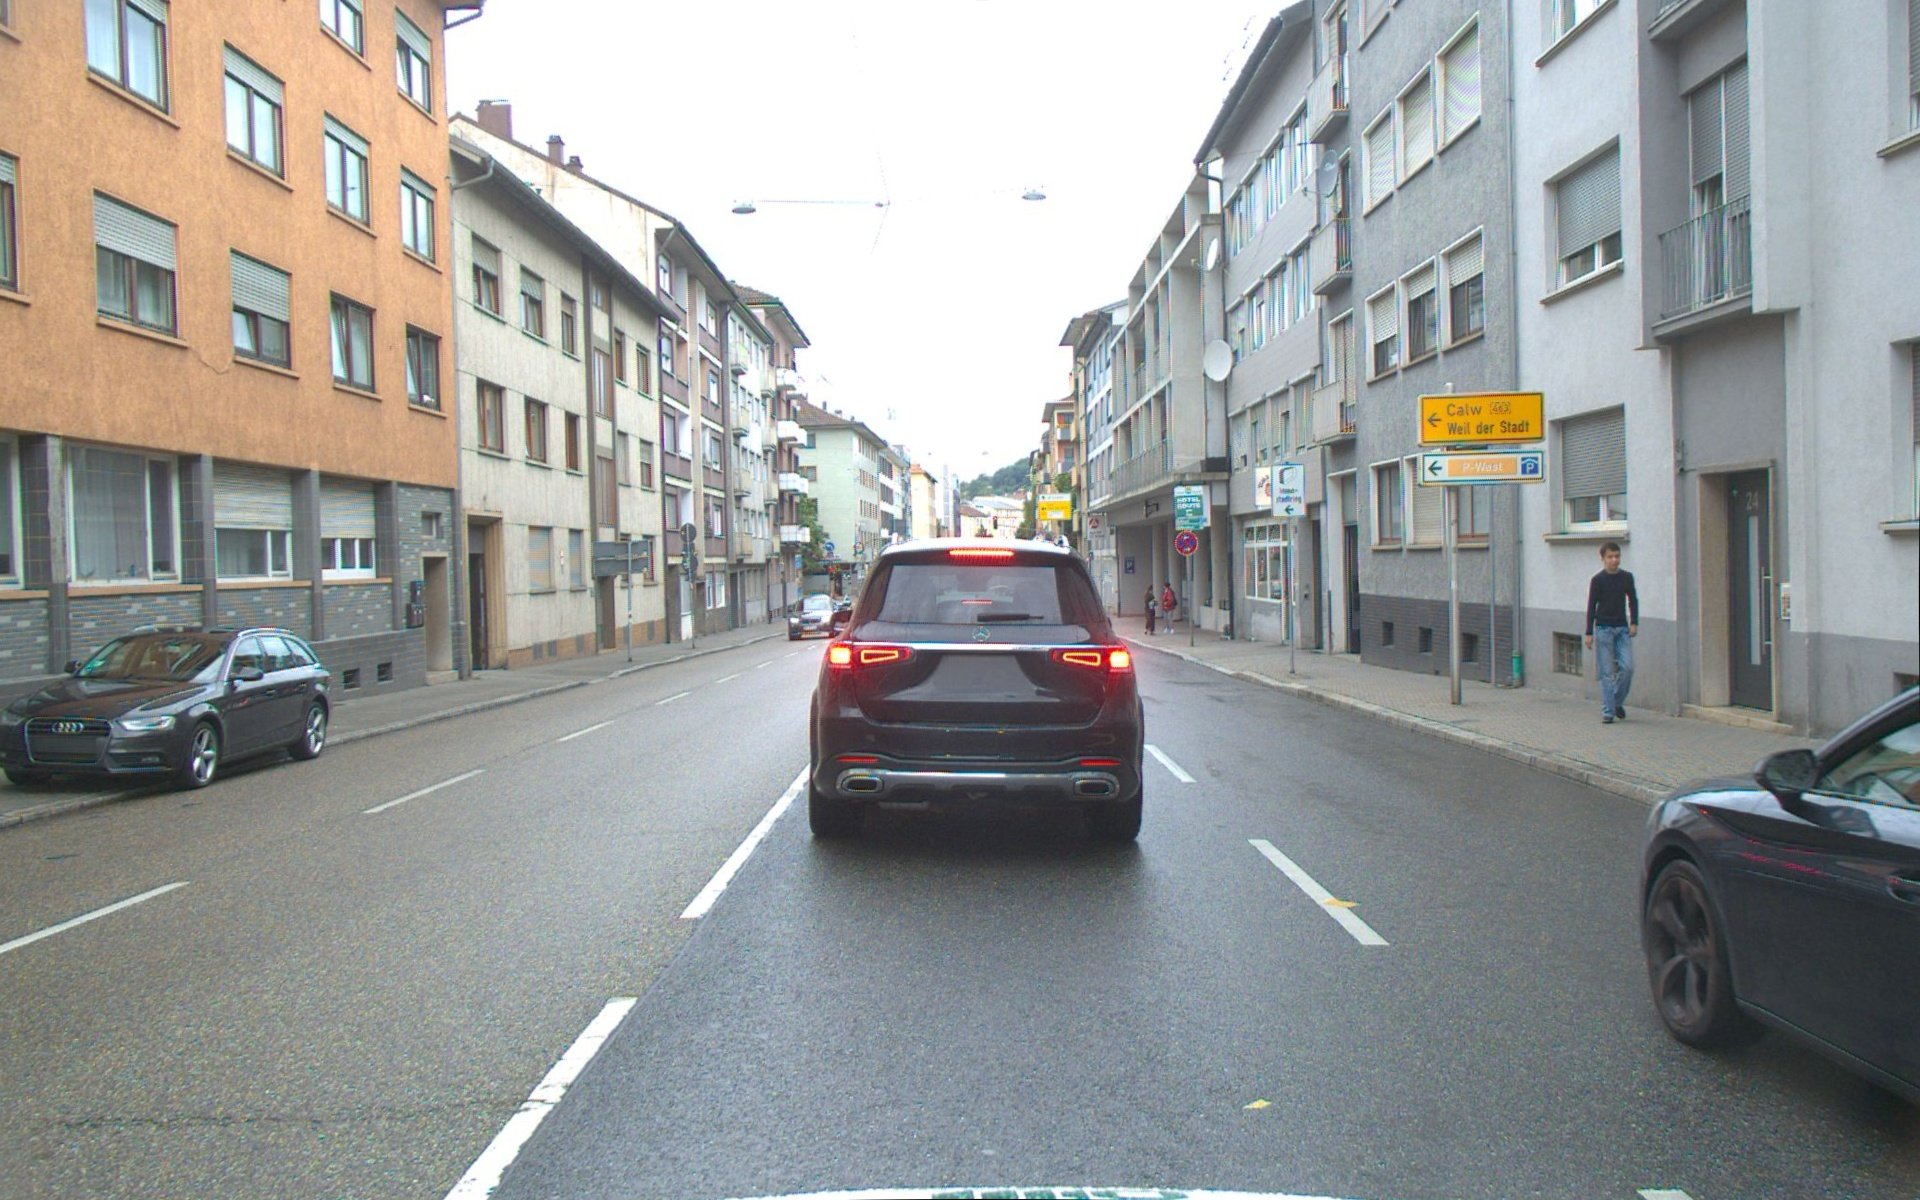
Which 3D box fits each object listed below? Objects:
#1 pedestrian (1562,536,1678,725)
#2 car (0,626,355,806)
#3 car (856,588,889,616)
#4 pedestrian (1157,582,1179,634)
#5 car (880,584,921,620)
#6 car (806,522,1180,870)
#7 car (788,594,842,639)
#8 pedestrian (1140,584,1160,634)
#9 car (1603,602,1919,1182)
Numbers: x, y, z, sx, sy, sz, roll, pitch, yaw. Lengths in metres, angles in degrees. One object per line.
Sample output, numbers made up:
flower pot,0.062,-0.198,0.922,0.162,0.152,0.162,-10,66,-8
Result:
pedestrian,6.669,0.296,16.750,0.630,1.808,1.056,-4,0,-1
car,-7.896,1.068,16.938,1.759,1.463,4.526,1,0,-1
car,-5.376,0.119,102.435,1.761,1.612,4.316,-3,0,0
pedestrian,6.623,0.248,52.664,0.548,1.606,0.526,-4,0,0
car,-3.152,0.099,87.891,1.798,1.757,4.475,-4,0,1
car,0.152,0.506,10.918,1.984,1.837,3.999,1,0,-1
car,-5.434,0.592,62.373,1.668,1.533,4.158,-4,0,-1
pedestrian,6.058,0.283,52.730,0.496,1.526,0.562,-4,0,-1
car,3.250,0.770,4.061,1.588,1.455,4.311,1,0,-1
